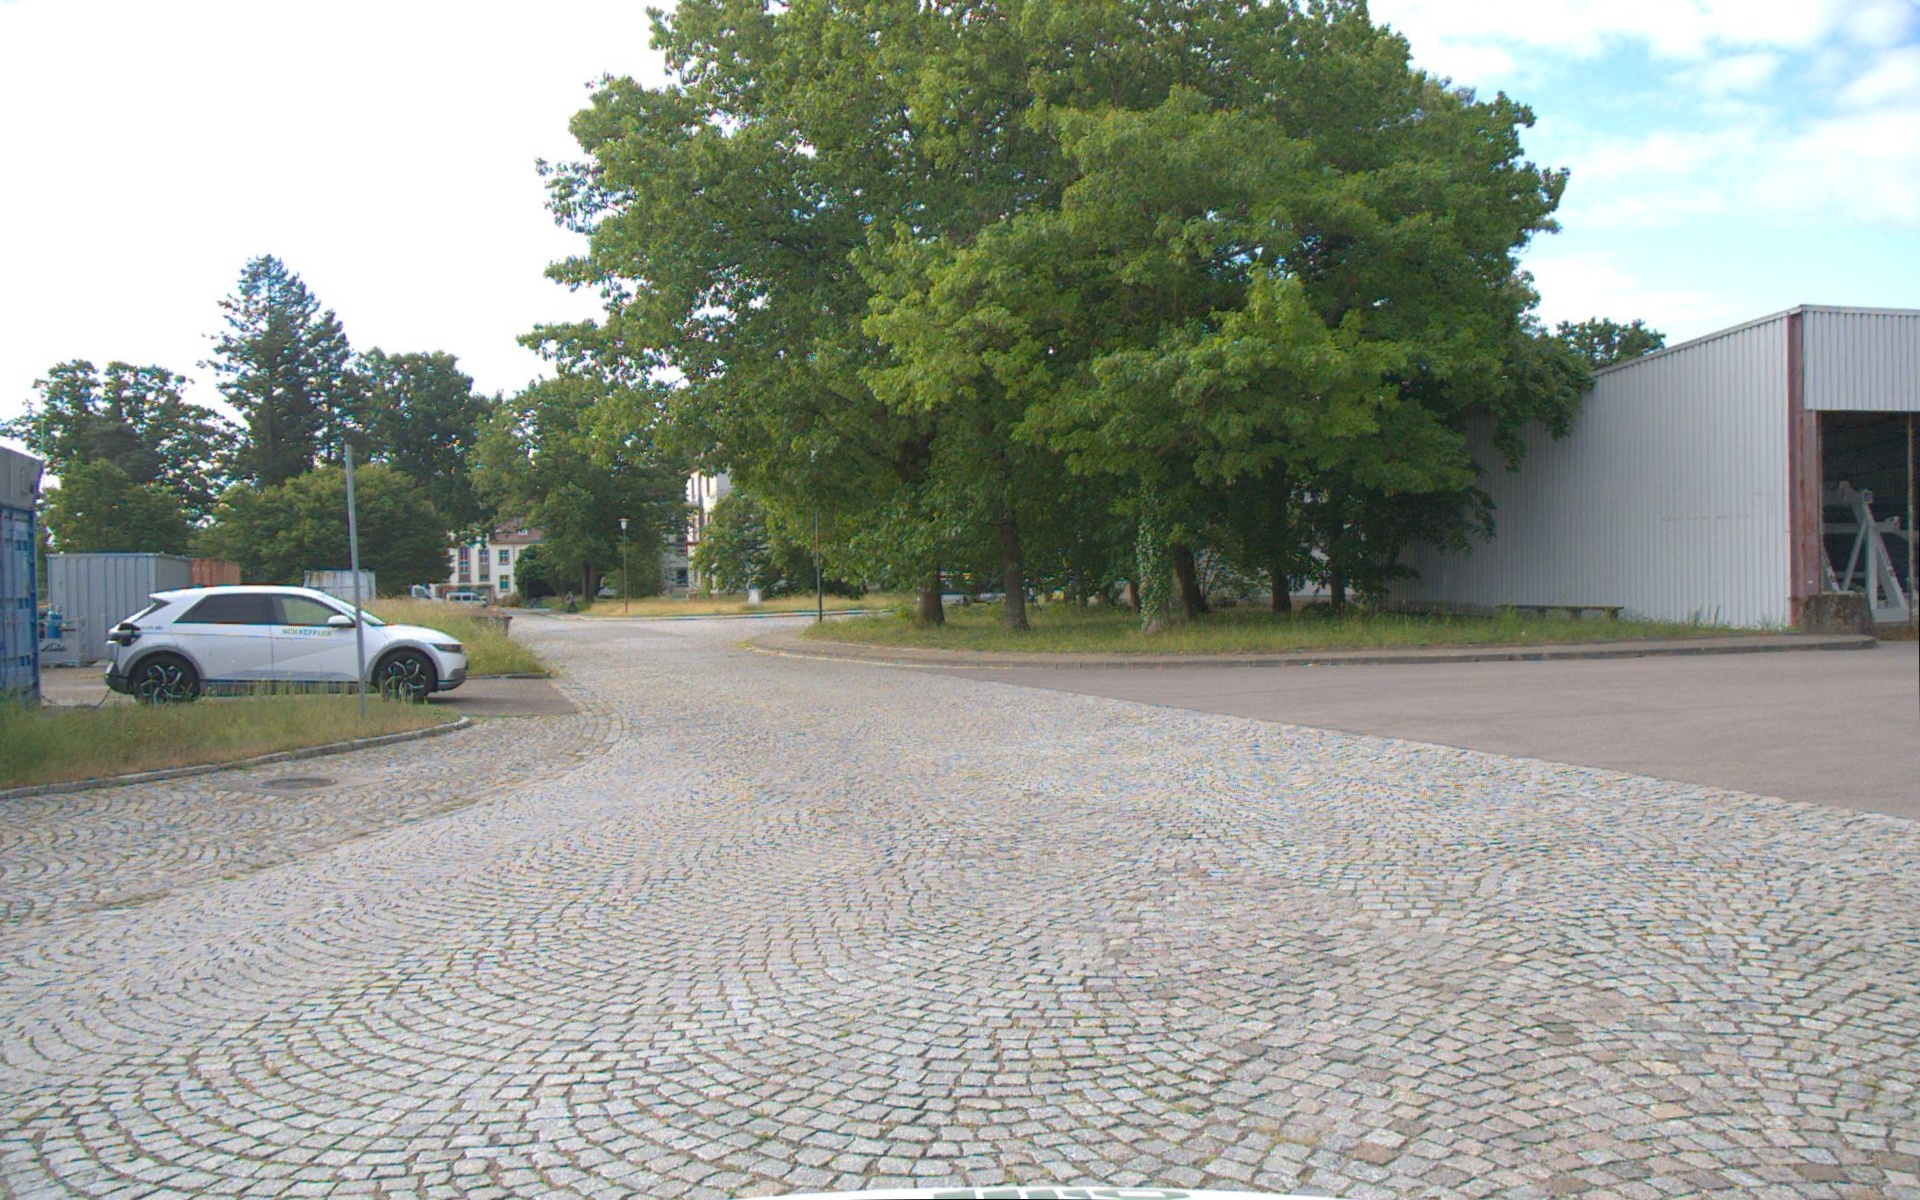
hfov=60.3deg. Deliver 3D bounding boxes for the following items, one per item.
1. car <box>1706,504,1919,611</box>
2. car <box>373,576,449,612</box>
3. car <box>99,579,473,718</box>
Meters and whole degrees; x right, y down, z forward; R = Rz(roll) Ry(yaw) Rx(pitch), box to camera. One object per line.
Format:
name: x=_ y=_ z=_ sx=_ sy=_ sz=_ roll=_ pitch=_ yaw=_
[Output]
car: x=18.555 y=-0.862 z=34.759 sx=2.207 sy=2.049 sz=5.307 roll=-2 pitch=1 yaw=-19
car: x=-39.466 y=-0.462 z=119.001 sx=5.092 sy=2.378 sz=1.990 roll=-2 pitch=1 yaw=-19
car: x=-9.034 y=0.609 z=22.605 sx=4.460 sy=1.627 sz=1.992 roll=-2 pitch=1 yaw=-16
